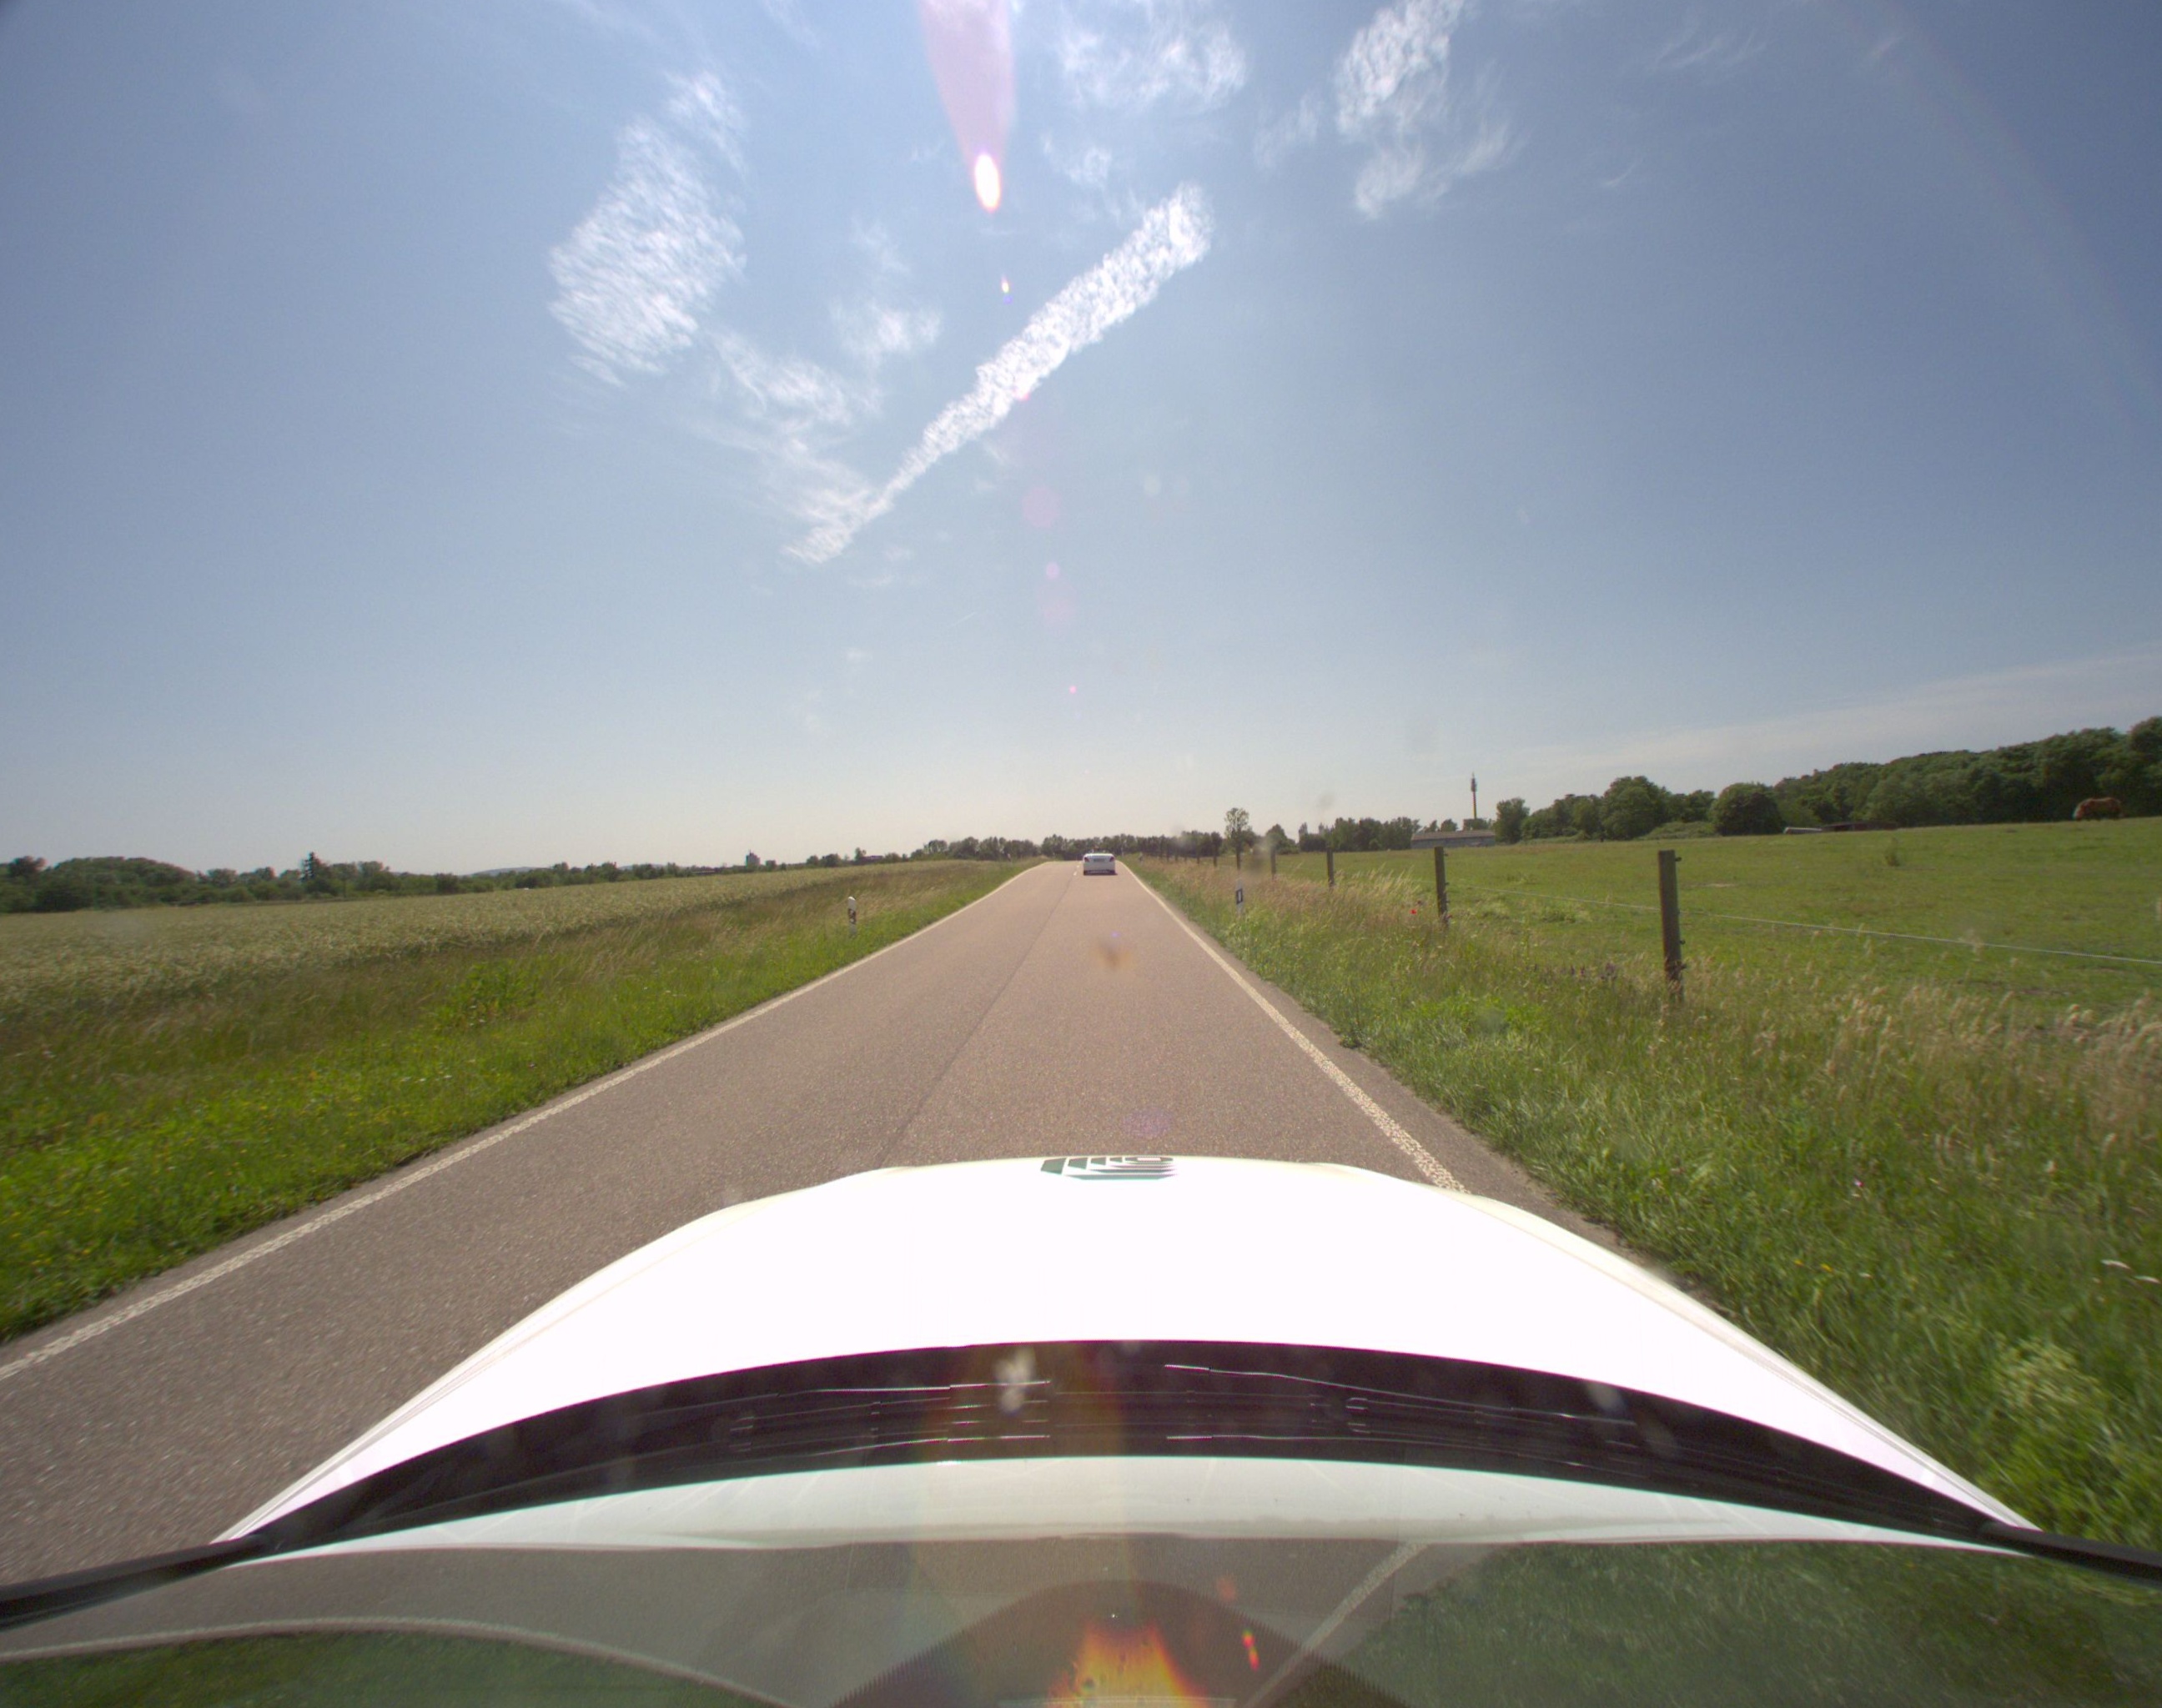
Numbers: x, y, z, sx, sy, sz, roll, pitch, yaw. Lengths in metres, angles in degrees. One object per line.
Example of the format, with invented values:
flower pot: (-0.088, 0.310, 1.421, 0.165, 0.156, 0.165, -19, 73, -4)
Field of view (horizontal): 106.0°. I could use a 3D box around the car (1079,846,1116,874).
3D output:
car: (0.864, 0.296, 43.727, 1.845, 1.379, 4.000, -1, 1, 0)
